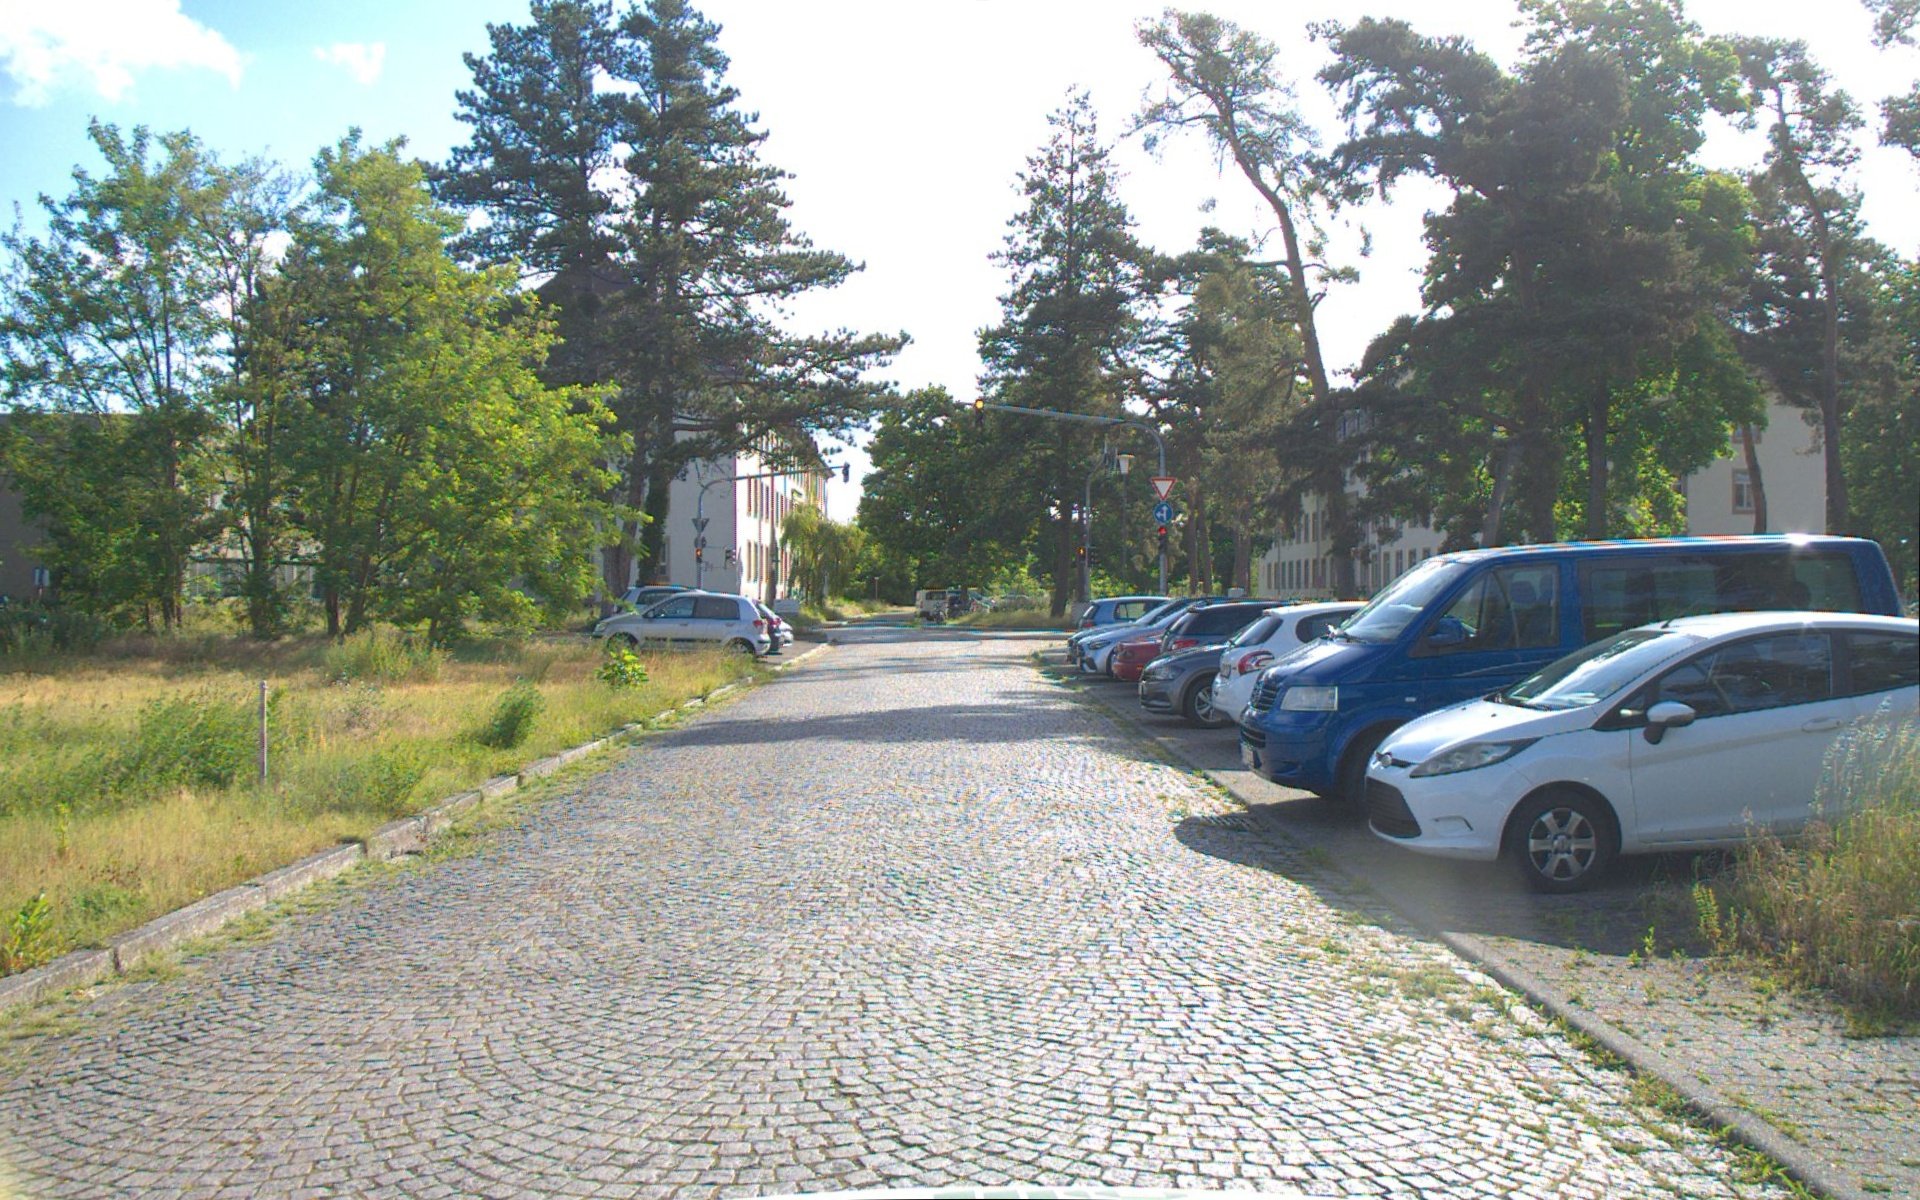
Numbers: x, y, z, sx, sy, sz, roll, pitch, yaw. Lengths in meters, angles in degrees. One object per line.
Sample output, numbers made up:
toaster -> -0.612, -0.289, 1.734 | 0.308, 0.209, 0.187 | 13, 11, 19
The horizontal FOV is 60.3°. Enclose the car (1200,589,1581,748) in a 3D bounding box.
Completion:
car -> 4.520, 0.694, 17.735 | 3.619, 1.491, 1.645 | -2, 0, 0

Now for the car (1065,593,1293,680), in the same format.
car -> 4.032, 0.650, 30.763 | 3.955, 1.556, 1.644 | 0, 0, -5

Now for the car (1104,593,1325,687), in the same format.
car -> 4.351, 0.660, 28.587 | 3.530, 1.556, 1.645 | 0, 0, -2

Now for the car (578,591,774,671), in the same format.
car -> -5.980, 0.634, 35.207 | 3.908, 1.628, 1.999 | 0, 0, -4

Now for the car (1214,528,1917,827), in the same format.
car -> 4.413, 0.515, 12.555 | 4.584, 2.049, 2.082 | 0, 0, -4

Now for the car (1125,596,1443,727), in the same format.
car -> 3.964, 0.731, 20.612 | 3.601, 1.493, 1.645 | -1, 0, -2

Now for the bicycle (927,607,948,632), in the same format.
bicycle -> -1.101, 0.945, 81.610 | 0.789, 1.190, 2.177 | -2, 0, -7

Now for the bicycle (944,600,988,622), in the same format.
bicycle -> 0.313, 0.556, 85.099 | 2.134, 1.119, 0.805 | 0, 0, -11

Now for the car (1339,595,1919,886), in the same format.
car -> 4.293, 0.755, 9.874 | 3.645, 1.514, 1.644 | -1, 0, -3

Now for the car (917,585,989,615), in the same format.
car -> -0.469, -0.005, 102.556 | 4.390, 1.758, 1.999 | 0, 0, -2

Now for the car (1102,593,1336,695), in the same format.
car -> 4.053, 0.671, 26.224 | 3.408, 1.556, 1.645 | 0, 0, -2

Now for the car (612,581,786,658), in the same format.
car -> -6.346, 0.464, 40.590 | 3.907, 1.629, 1.999 | 3, 0, -2

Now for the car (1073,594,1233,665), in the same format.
car -> 4.188, 0.624, 36.178 | 3.276, 1.508, 1.645 | 0, 0, -2

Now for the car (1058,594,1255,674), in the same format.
car -> 3.935, 0.661, 33.533 | 3.758, 1.556, 1.645 | 0, 0, -2

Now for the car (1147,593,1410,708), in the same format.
car -> 4.472, 0.685, 23.540 | 3.408, 1.556, 1.645 | 0, 0, -2

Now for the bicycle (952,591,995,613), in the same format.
bicycle -> 0.684, 0.119, 86.253 | 2.134, 1.119, 0.805 | 0, 0, -11

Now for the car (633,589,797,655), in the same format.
car -> -6.317, 0.557, 42.991 | 3.907, 1.478, 1.999 | 3, 0, -2
